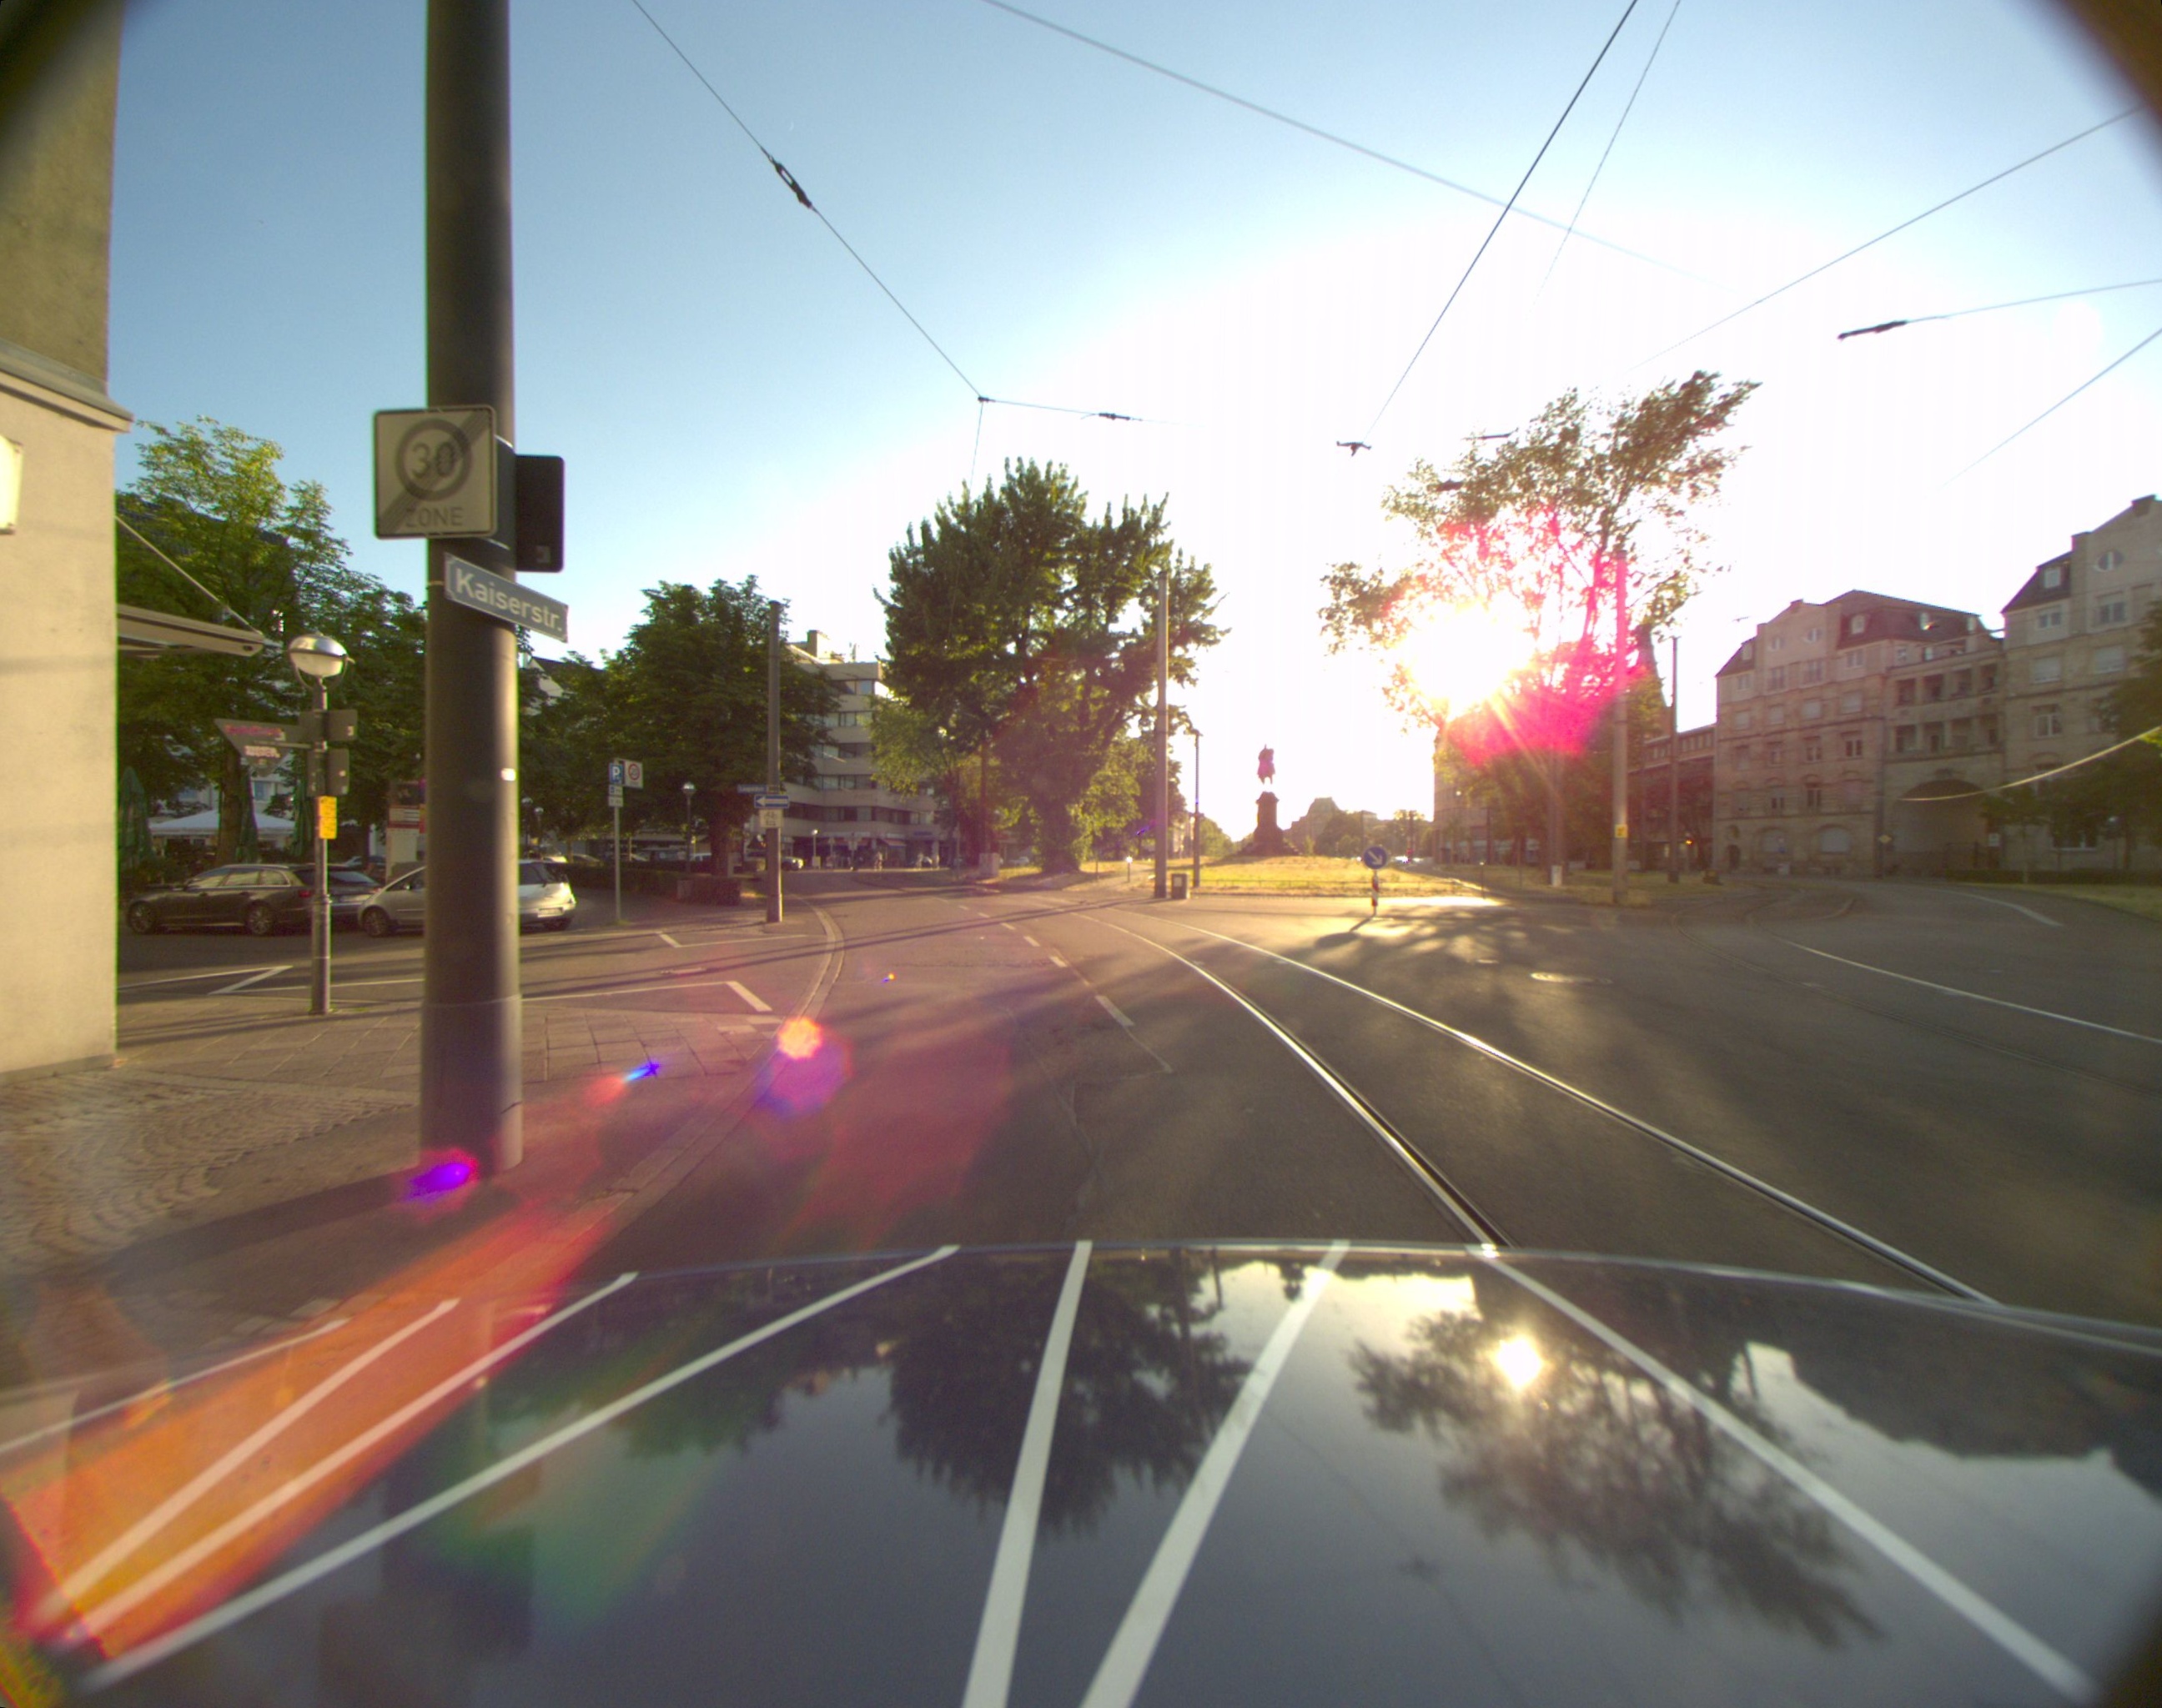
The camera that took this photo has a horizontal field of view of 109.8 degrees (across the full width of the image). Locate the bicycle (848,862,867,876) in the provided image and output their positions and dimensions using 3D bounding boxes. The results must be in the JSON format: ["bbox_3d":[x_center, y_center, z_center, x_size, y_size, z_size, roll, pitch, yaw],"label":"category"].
[{"bbox_3d":[-18.198,1.231,61.916,0.937,1.070,2.216,-1,0,-31],"label":"bicycle"}]

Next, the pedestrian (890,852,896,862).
[{"bbox_3d":[-24.365,0.408,98.256,0.611,1.313,0.591,1,1,1],"label":"pedestrian"}]

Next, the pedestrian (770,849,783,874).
[{"bbox_3d":[-21.417,0.514,53.411,0.588,1.733,0.643,0,0,3],"label":"pedestrian"}]

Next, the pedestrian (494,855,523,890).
[{"bbox_3d":[-20.429,0.652,27.124,0.567,1.237,0.613,1,1,20],"label":"pedestrian"}]

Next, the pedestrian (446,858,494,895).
[{"bbox_3d":[-20.761,0.760,25.835,0.779,1.235,0.989,0,1,7],"label":"pedestrian"}]

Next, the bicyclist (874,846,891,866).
[{"bbox_3d":[-19.695,0.170,75.351,1.234,1.980,1.368,0,1,8],"label":"bicyclist"}]

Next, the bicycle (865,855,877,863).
[{"bbox_3d":[-25.635,0.618,92.746,1.447,0.987,0.530,2,2,-17],"label":"bicycle"}]

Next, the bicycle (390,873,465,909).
[{"bbox_3d":[-18.810,1.046,21.897,0.554,0.924,1.532,1,1,33],"label":"bicycle"}]

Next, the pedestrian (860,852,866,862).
[{"bbox_3d":[-26.724,0.405,93.175,0.461,1.187,0.421,5,1,11],"label":"pedestrian"}]

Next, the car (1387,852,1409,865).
[{"bbox_3d":[49.624,0.714,119.061,1.997,2.002,4.551,0,0,8],"label":"car"}]

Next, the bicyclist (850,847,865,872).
[{"bbox_3d":[-18.265,0.443,62.012,0.926,1.962,1.111,-1,1,-31],"label":"bicyclist"}]

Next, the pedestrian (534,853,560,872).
[{"bbox_3d":[-33.983,0.531,48.384,1.367,1.219,0.963,0,1,37],"label":"pedestrian"}]

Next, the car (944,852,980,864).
[{"bbox_3d":[-15.767,0.505,100.633,1.994,1.596,4.533,0,0,37],"label":"car"}]

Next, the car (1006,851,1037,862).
[{"bbox_3d":[-8.693,0.346,111.203,1.994,1.596,4.533,0,0,37],"label":"car"}]

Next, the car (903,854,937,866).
[{"bbox_3d":[-20.059,0.680,94.618,1.790,1.433,4.008,0,0,36],"label":"car"}]

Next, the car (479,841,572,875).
[{"bbox_3d":[-37.161,0.254,50.915,4.875,2.228,2.095,-1,1,6],"label":"car"}]

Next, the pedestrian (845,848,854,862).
[{"bbox_3d":[-26.407,0.112,86.814,0.568,1.528,0.795,2,2,38],"label":"pedestrian"}]

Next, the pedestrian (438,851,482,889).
[{"bbox_3d":[-22.766,0.583,27.864,0.730,1.348,1.017,2,2,23],"label":"pedestrian"}]

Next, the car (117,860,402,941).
[{"bbox_3d":[-17.080,0.913,15.885,4.666,1.505,1.740,0,1,9],"label":"car"}]

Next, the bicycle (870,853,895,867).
[{"bbox_3d":[-19.689,0.606,75.451,1.271,1.353,3.243,0,1,8],"label":"bicycle"}]

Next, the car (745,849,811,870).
[{"bbox_3d":[-25.513,0.459,64.068,4.706,1.761,2.000,-1,0,1],"label":"car"}]

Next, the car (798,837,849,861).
[{"bbox_3d":[-30.939,-0.613,91.406,5.427,2.711,2.183,2,1,7],"label":"car"}]

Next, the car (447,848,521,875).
[{"bbox_3d":[-45.116,0.506,57.483,1.946,1.875,4.008,3,2,35],"label":"car"}]

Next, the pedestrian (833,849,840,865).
[{"bbox_3d":[-27.886,0.336,86.771,0.604,1.827,0.573,4,1,-22],"label":"pedestrian"}]

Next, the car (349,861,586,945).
[{"bbox_3d":[-12.195,0.927,15.224,3.572,1.505,1.740,0,1,9],"label":"car"}]

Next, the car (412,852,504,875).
[{"bbox_3d":[-39.345,0.581,48.090,3.999,1.390,1.999,-1,1,-7],"label":"car"}]
